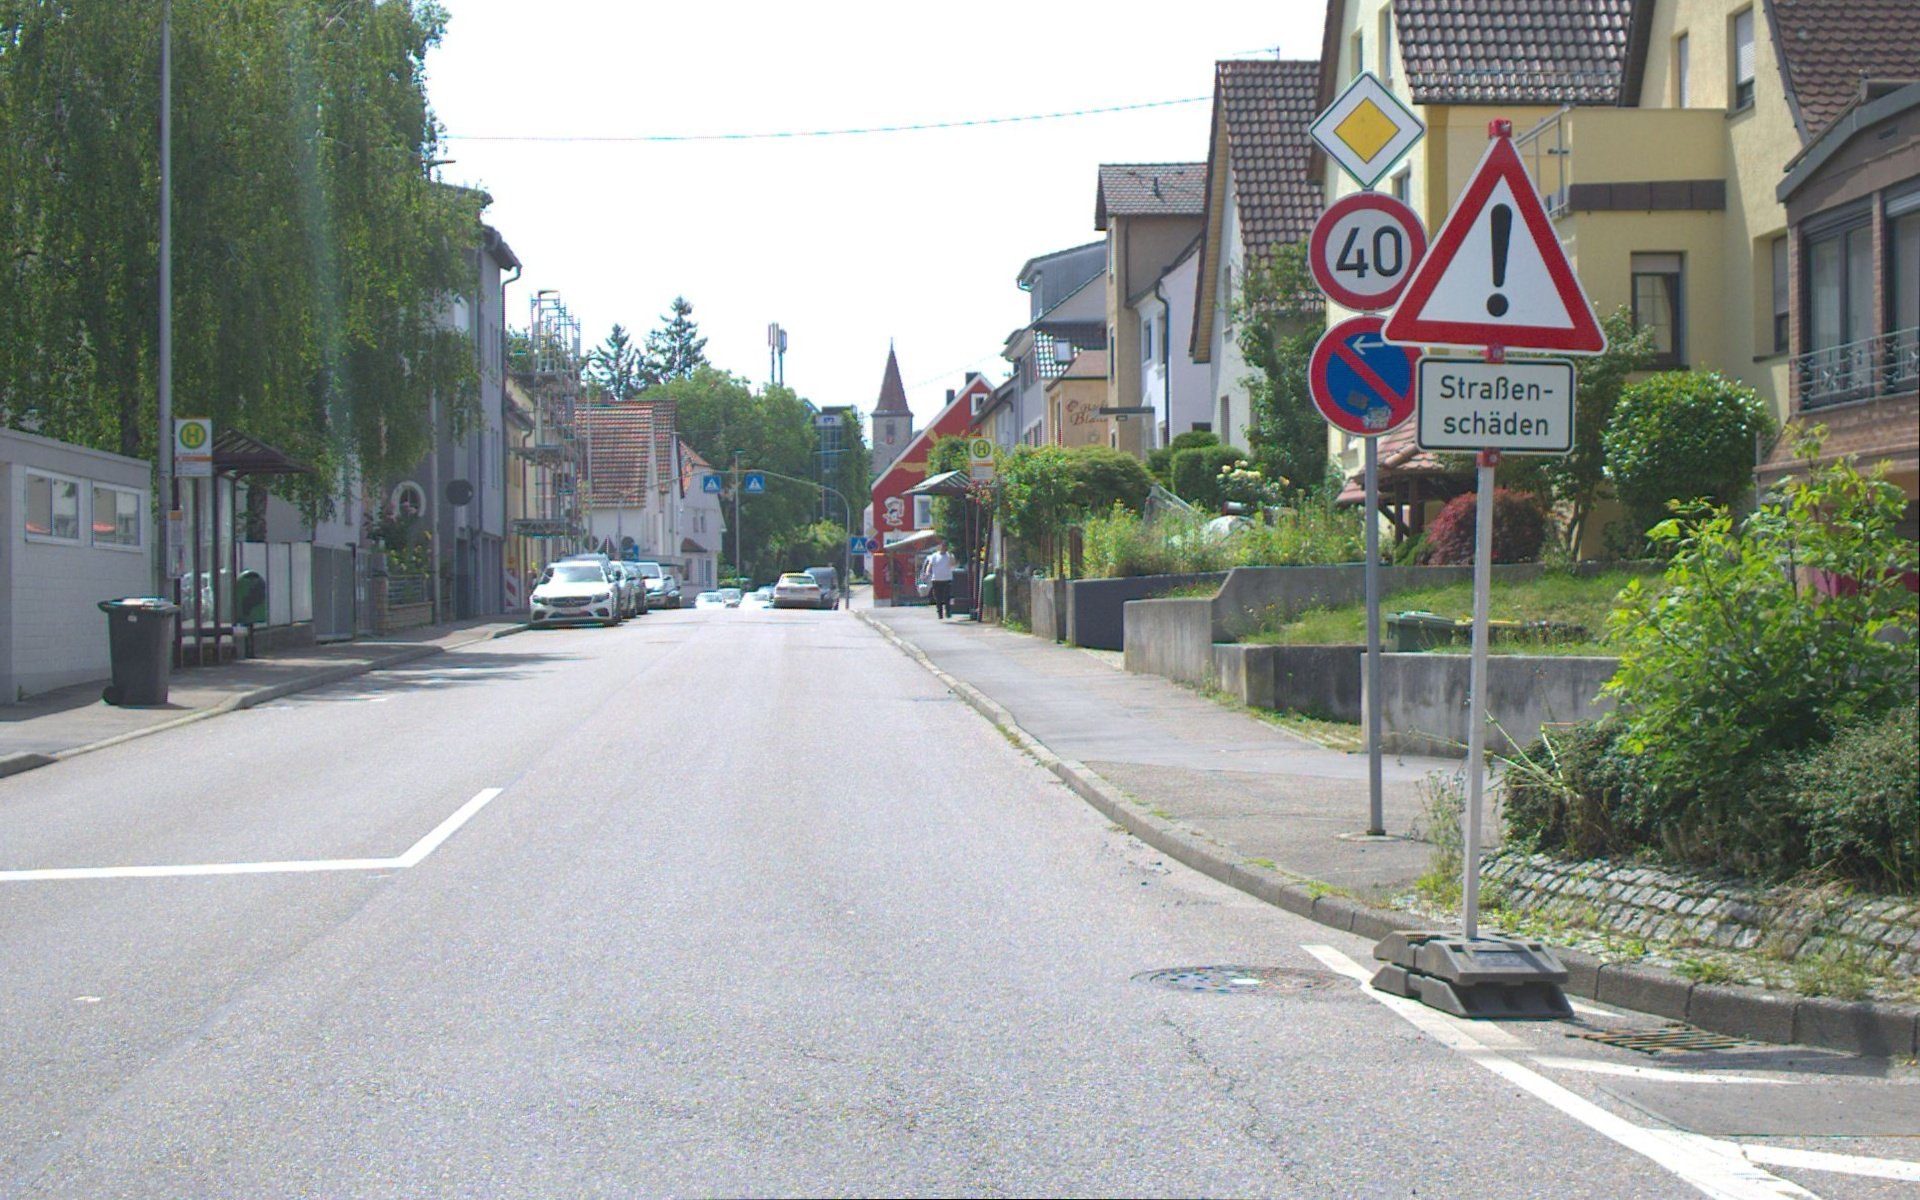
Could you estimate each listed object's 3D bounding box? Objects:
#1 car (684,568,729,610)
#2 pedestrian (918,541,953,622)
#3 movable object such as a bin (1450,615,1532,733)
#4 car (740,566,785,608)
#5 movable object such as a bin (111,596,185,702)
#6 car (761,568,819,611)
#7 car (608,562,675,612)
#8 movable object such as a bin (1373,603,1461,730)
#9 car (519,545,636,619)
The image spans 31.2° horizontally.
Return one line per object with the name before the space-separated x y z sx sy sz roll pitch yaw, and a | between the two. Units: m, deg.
car | -12.810 -0.562 173.786 1.993 2.007 4.000 -1 1 -1
pedestrian | -0.532 -0.410 75.001 0.646 1.724 0.608 -3 1 -3
movable object such as a bin | 4.744 0.657 30.758 0.528 0.986 0.564 6 1 -2
car | -9.807 -0.657 170.728 1.993 2.007 4.000 -1 1 -1
movable object such as a bin | -8.294 0.497 35.140 0.607 1.042 0.725 0 2 -3
car | -6.542 -0.425 132.116 1.993 1.555 4.315 -1 1 -6
car | -10.386 -0.456 112.355 1.993 1.555 4.314 -1 1 -3
movable object such as a bin | 4.077 0.588 30.716 0.583 1.075 0.734 4 1 -3
car | -8.485 -0.415 76.571 2.110 1.555 4.314 -1 1 0
